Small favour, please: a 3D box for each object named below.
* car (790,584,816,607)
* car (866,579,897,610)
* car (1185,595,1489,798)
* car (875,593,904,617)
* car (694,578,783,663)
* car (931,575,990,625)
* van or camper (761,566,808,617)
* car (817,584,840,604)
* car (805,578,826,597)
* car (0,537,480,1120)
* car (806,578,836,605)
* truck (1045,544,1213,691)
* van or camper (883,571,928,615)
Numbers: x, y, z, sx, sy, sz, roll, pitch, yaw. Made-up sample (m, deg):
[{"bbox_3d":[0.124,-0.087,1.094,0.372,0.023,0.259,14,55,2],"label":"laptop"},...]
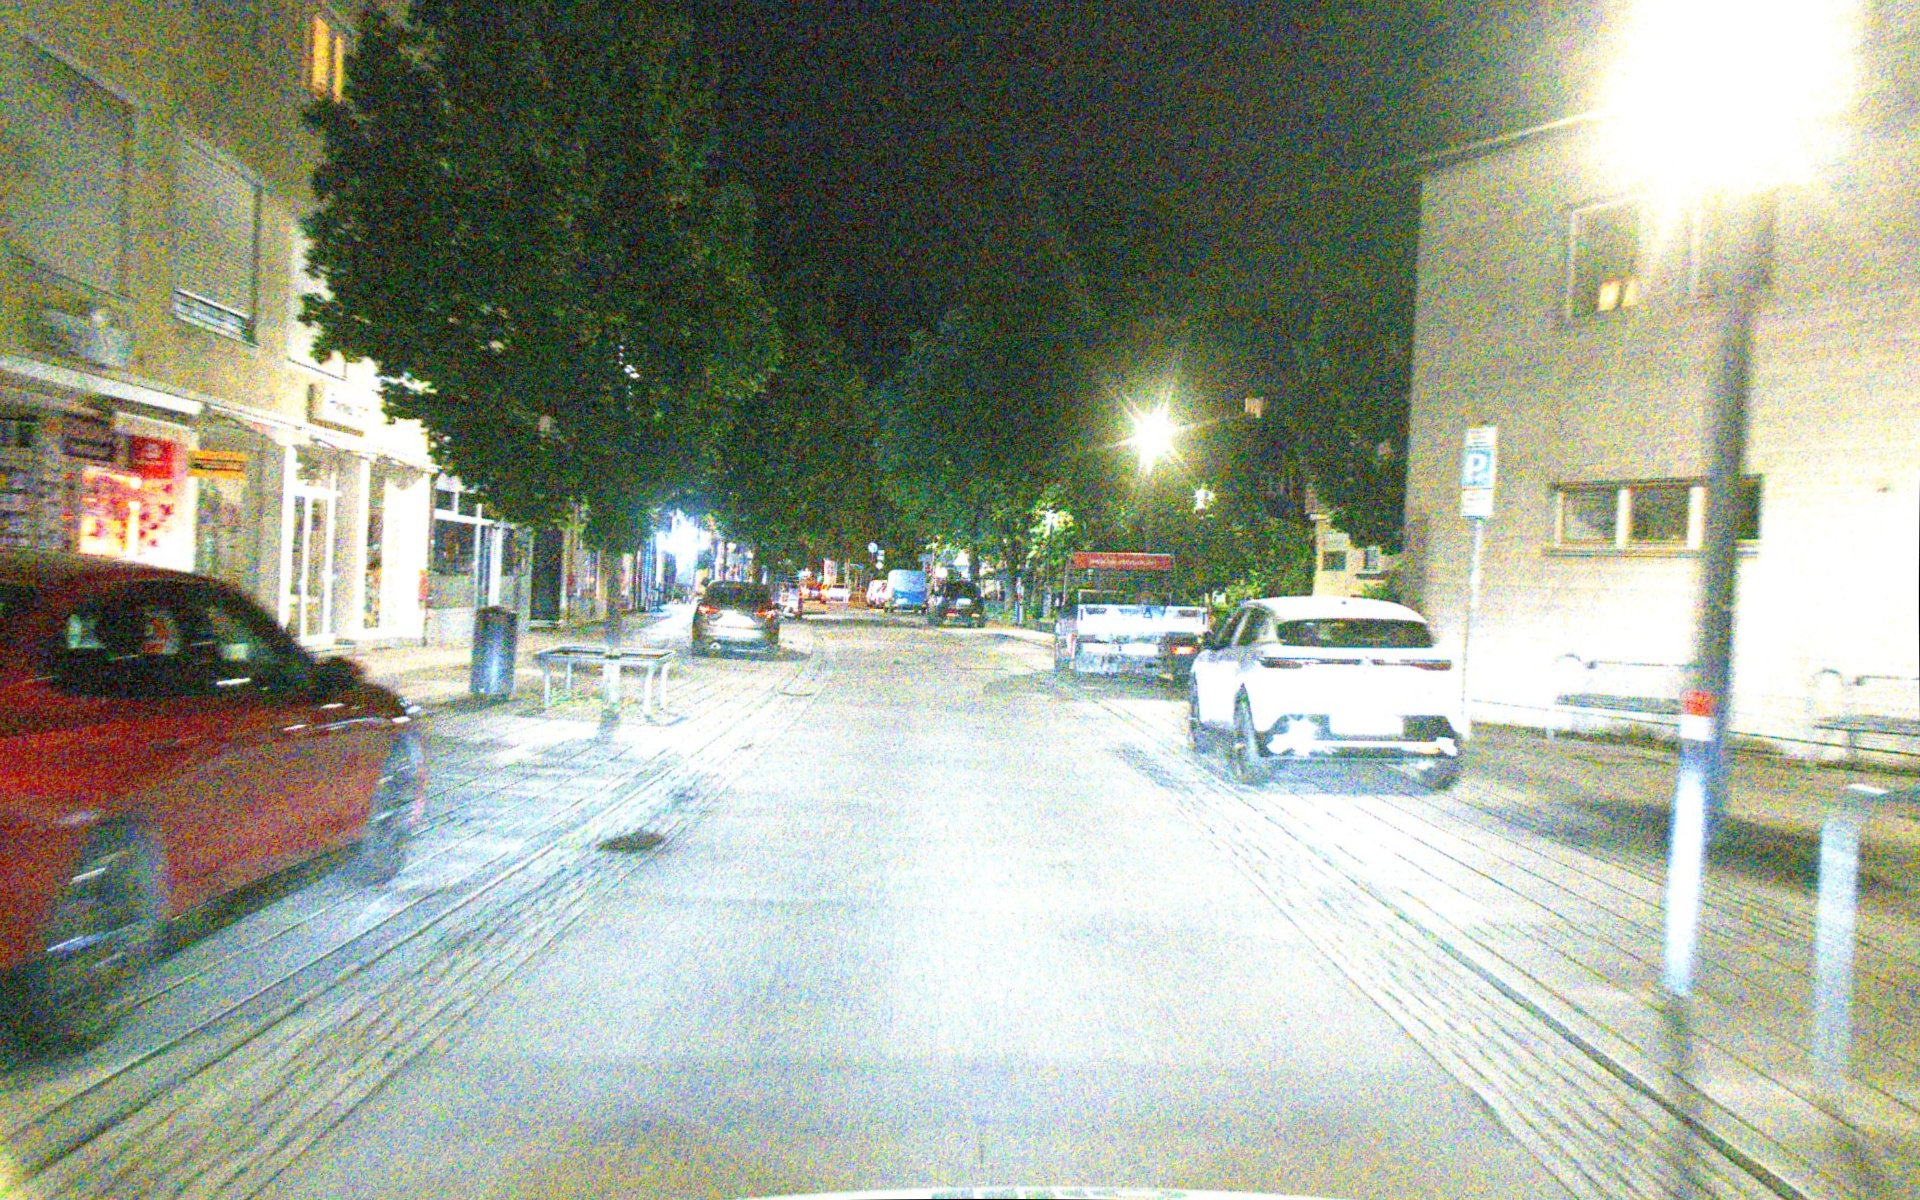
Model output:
[{"bbox_3d":[-12.723,-0.374,133.925,1.955,1.732,3.995,2,0,-6],"label":"car"},{"bbox_3d":[-5.212,-0.366,109.874,1.804,1.934,3.841,2,0,-6],"label":"car"},{"bbox_3d":[3.152,0.728,14.631,1.753,1.517,4.059,1,0,0],"label":"car"},{"bbox_3d":[-4.444,0.301,103.907,1.502,1.443,3.841,2,0,-6],"label":"car"},{"bbox_3d":[-4.547,0.391,34.347,1.642,1.570,4.224,3,0,-7],"label":"car"},{"bbox_3d":[0.002,-0.006,65.375,1.780,1.860,4.341,2,0,-7],"label":"car"},{"bbox_3d":[-7.651,-0.380,71.843,1.831,2.046,4.255,4,0,-8],"label":"van or camper"},{"bbox_3d":[-10.934,-0.539,137.298,1.804,1.569,3.841,2,0,-6],"label":"car"},{"bbox_3d":[-14.806,-1.248,169.198,1.956,1.855,3.993,2,0,-8],"label":"car"},{"bbox_3d":[-3.572,0.556,6.383,1.979,1.513,5.006,5,0,-2],"label":"car"},{"bbox_3d":[-10.086,-0.651,120.133,1.956,1.855,3.994,2,0,-7],"label":"car"},{"bbox_3d":[2.933,0.265,30.105,2.289,2.352,5.779,2,0,-1],"label":"truck"},{"bbox_3d":[-3.044,-0.402,91.367,2.069,2.357,4.255,1,0,-8],"label":"van or camper"}]
